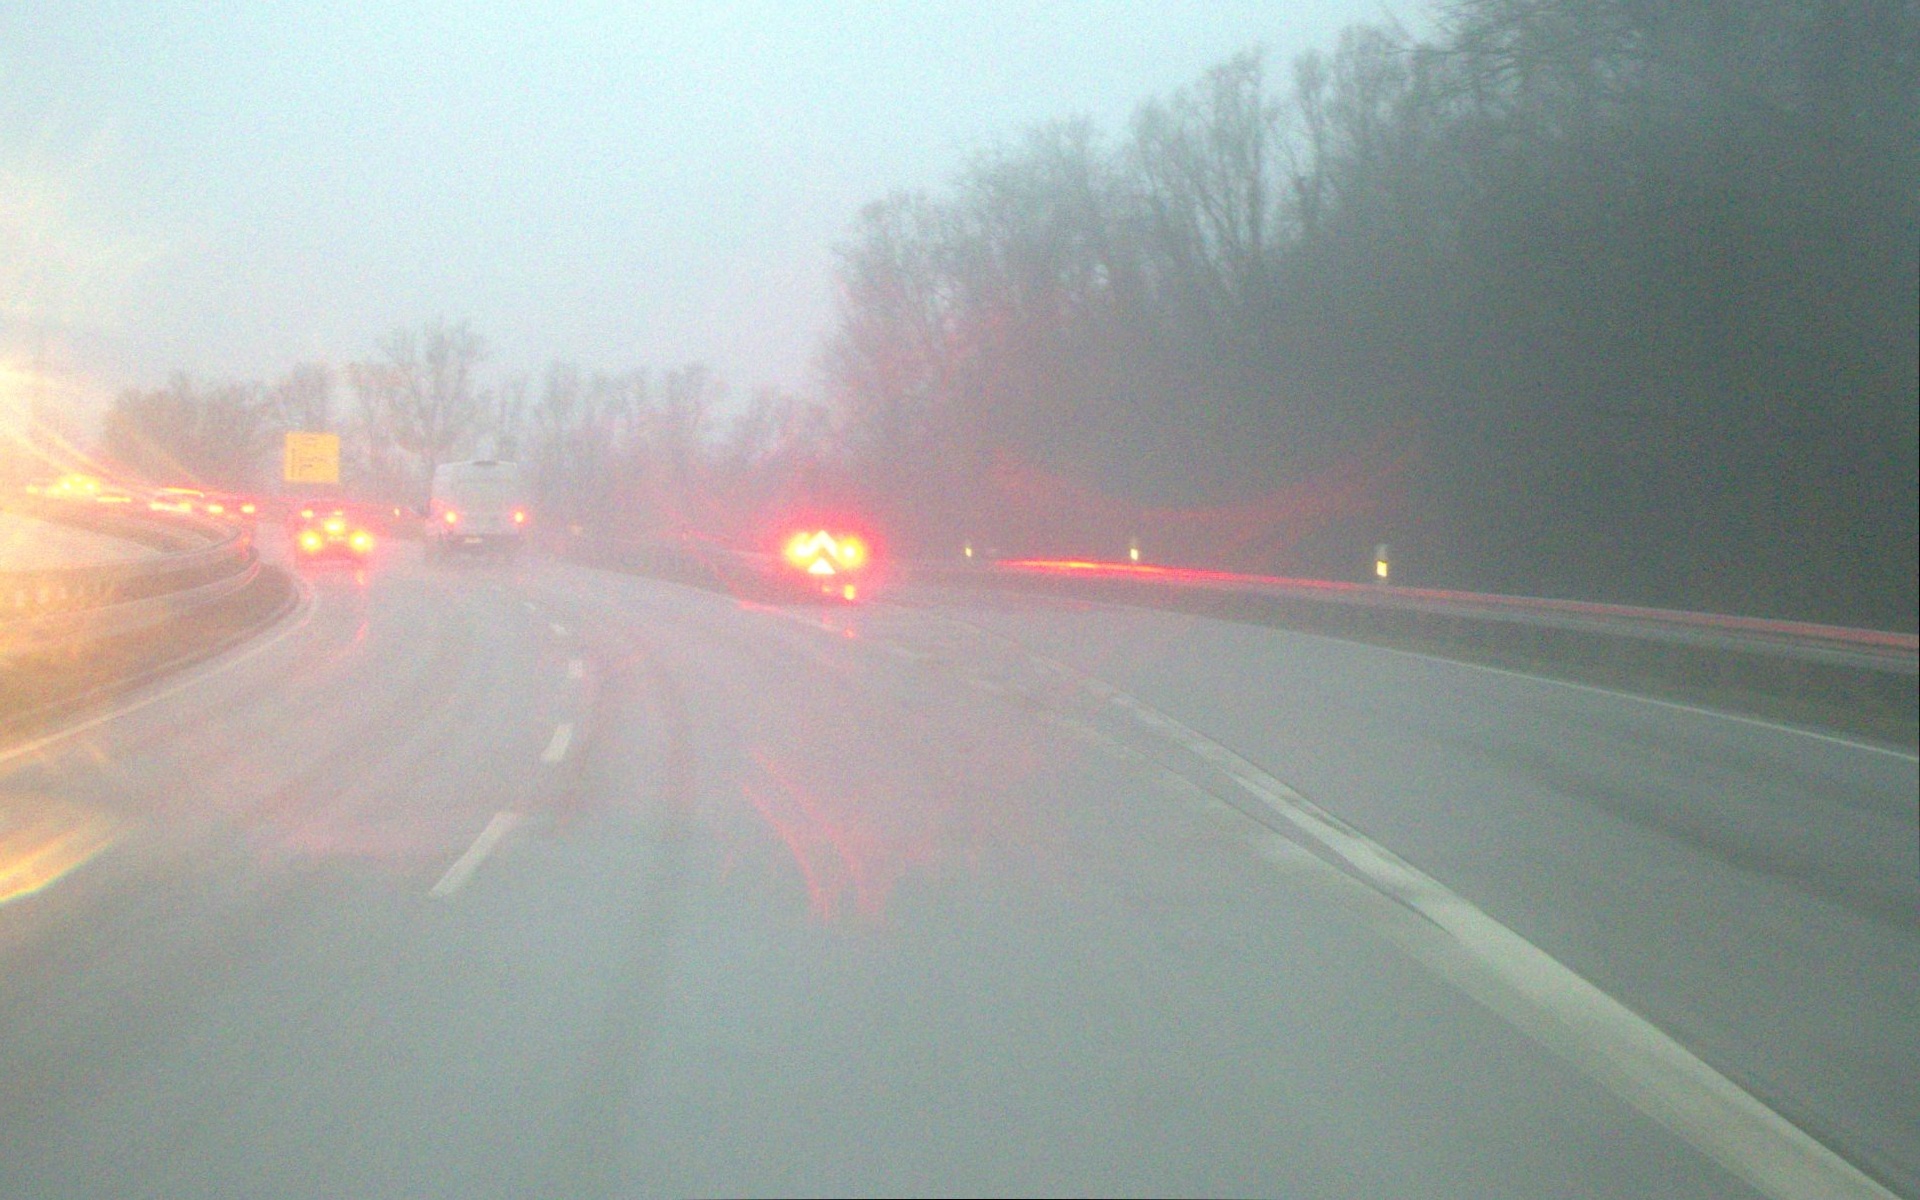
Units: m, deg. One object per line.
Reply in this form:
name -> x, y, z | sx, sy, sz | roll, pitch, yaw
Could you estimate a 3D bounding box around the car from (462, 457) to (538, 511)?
car -> -12.238, -3.076, 91.575 | 1.416, 1.312, 3.082 | 2, 1, 3
